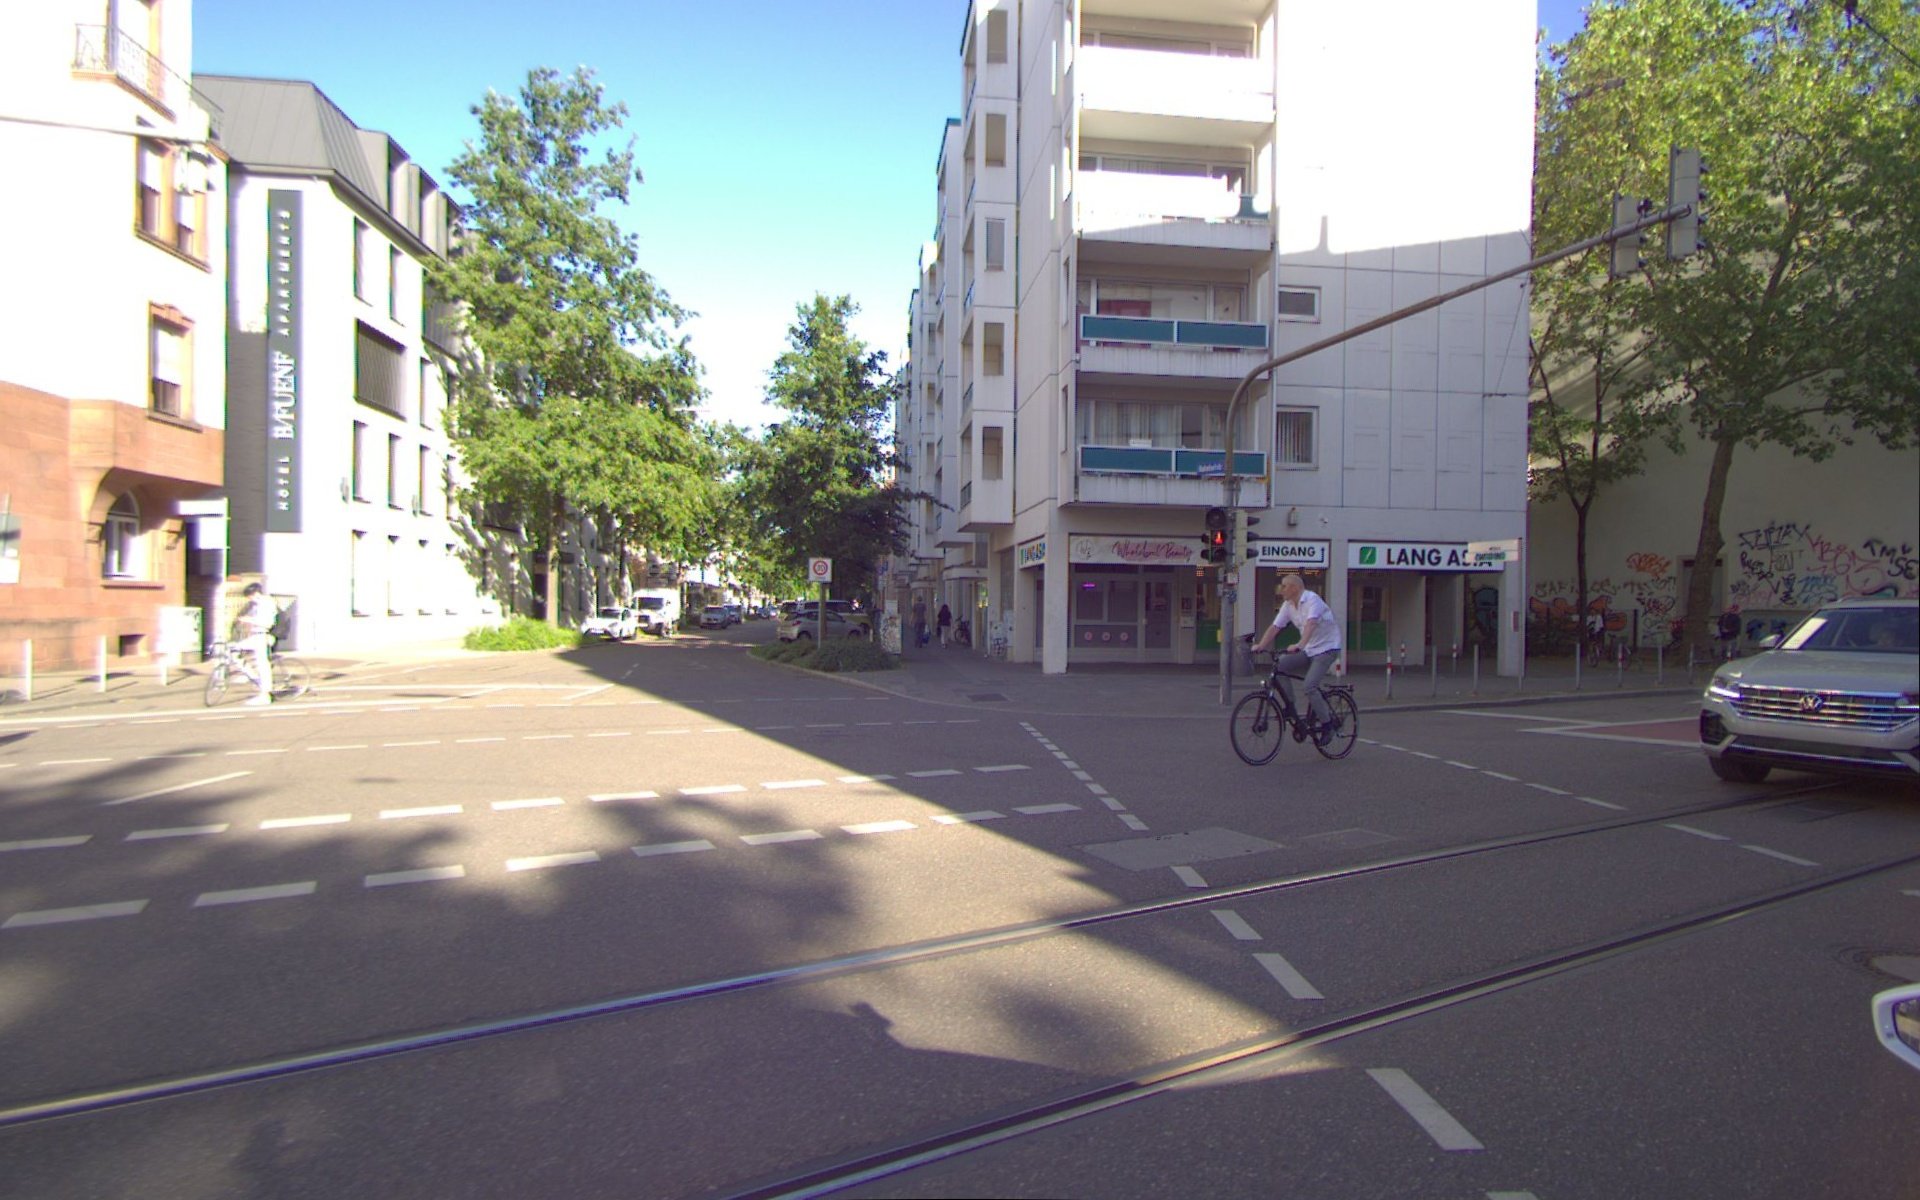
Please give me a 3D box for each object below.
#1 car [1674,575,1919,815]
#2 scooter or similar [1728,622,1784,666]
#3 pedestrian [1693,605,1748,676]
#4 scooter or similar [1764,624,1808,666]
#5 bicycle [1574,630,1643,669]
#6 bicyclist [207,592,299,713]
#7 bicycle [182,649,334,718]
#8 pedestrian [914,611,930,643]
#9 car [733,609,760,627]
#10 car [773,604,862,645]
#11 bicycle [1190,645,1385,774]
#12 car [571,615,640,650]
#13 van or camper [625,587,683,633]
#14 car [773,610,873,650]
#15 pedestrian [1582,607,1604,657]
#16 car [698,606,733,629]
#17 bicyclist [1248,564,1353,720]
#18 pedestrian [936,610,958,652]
[{"bbox_3d":[8.683,0.730,9.117,4.511,1.767,1.983,1,0,-31],"label":"car"},{"bbox_3d":[24.211,1.320,30.560,0.762,1.274,1.217,1,0,-41],"label":"scooter or similar"},{"bbox_3d":[19.478,1.025,25.724,1.010,1.789,0.681,0,0,-19],"label":"pedestrian"},{"bbox_3d":[25.345,1.364,30.816,0.762,1.238,0.929,1,0,-42],"label":"scooter or similar"},{"bbox_3d":[18.422,1.397,28.589,0.652,1.048,1.921,0,-1,-3],"label":"bicycle"},{"bbox_3d":[-10.881,0.785,15.474,0.603,1.787,0.974,0,0,21],"label":"bicyclist"},{"bbox_3d":[-10.861,1.263,15.617,0.776,0.921,1.814,0,0,21],"label":"bicycle"},{"bbox_3d":[-1.785,1.264,47.735,0.703,1.514,0.744,0,0,1],"label":"pedestrian"},{"bbox_3d":[-19.088,1.606,89.878,1.963,1.546,3.996,1,-1,-7],"label":"car"},{"bbox_3d":[-6.762,1.155,47.762,3.964,1.900,1.588,1,0,-38],"label":"car"},{"bbox_3d":[3.307,1.046,10.078,2.060,1.135,0.689,1,0,-31],"label":"bicycle"},{"bbox_3d":[-15.878,1.420,45.196,1.962,1.483,3.997,0,-1,-5],"label":"car"},{"bbox_3d":[-16.855,0.528,55.604,1.962,2.396,5.471,0,0,-5],"label":"van or camper"},{"bbox_3d":[-5.772,1.228,42.507,3.961,1.506,1.589,-1,2,-36],"label":"car"},{"bbox_3d":[21.847,1.098,34.645,0.541,1.741,0.453,1,-1,-31],"label":"pedestrian"},{"bbox_3d":[-17.502,1.243,71.979,1.963,1.546,3.996,0,-1,-7],"label":"car"},{"bbox_3d":[3.438,0.410,10.158,0.769,1.503,0.679,1,0,-31],"label":"bicyclist"},{"bbox_3d":[-0.478,1.138,36.657,0.703,1.514,0.744,0,0,5],"label":"pedestrian"}]
